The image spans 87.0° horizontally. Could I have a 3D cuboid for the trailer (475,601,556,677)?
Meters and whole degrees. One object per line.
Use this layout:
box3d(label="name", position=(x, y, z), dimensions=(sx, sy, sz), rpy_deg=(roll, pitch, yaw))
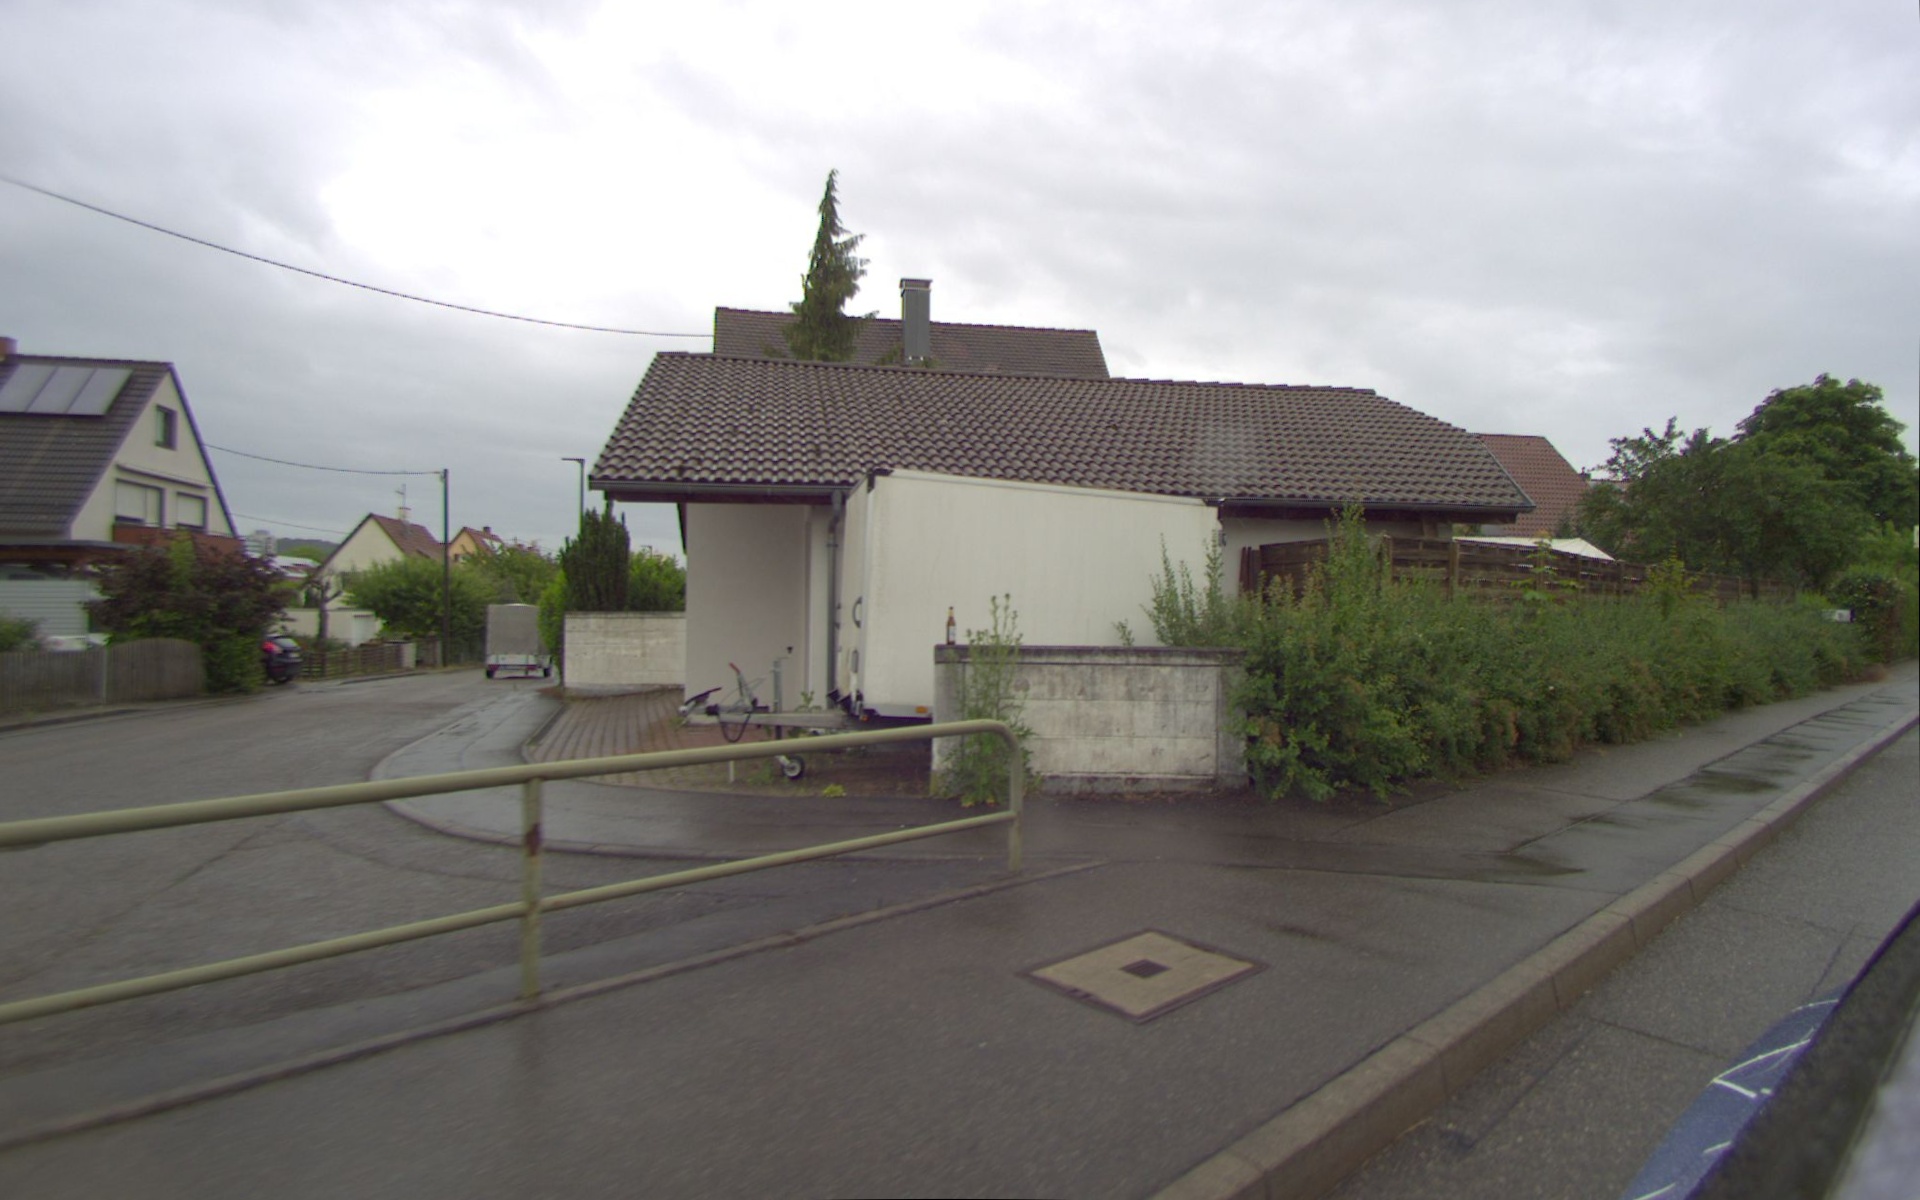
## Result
box3d(label="trailer", position=(-14.874, 1.244, 34.056), dimensions=(1.925, 2.373, 4.008), rpy_deg=(0, -1, -16))

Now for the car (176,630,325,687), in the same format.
box3d(label="car", position=(-19.540, 1.596, 27.912), dimensions=(3.302, 1.461, 1.675), rpy_deg=(-1, -1, 16))

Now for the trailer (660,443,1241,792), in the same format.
box3d(label="trailer", position=(-0.122, 0.110, 8.700), dimensions=(4.605, 2.550, 1.652), rpy_deg=(0, -1, -12))
